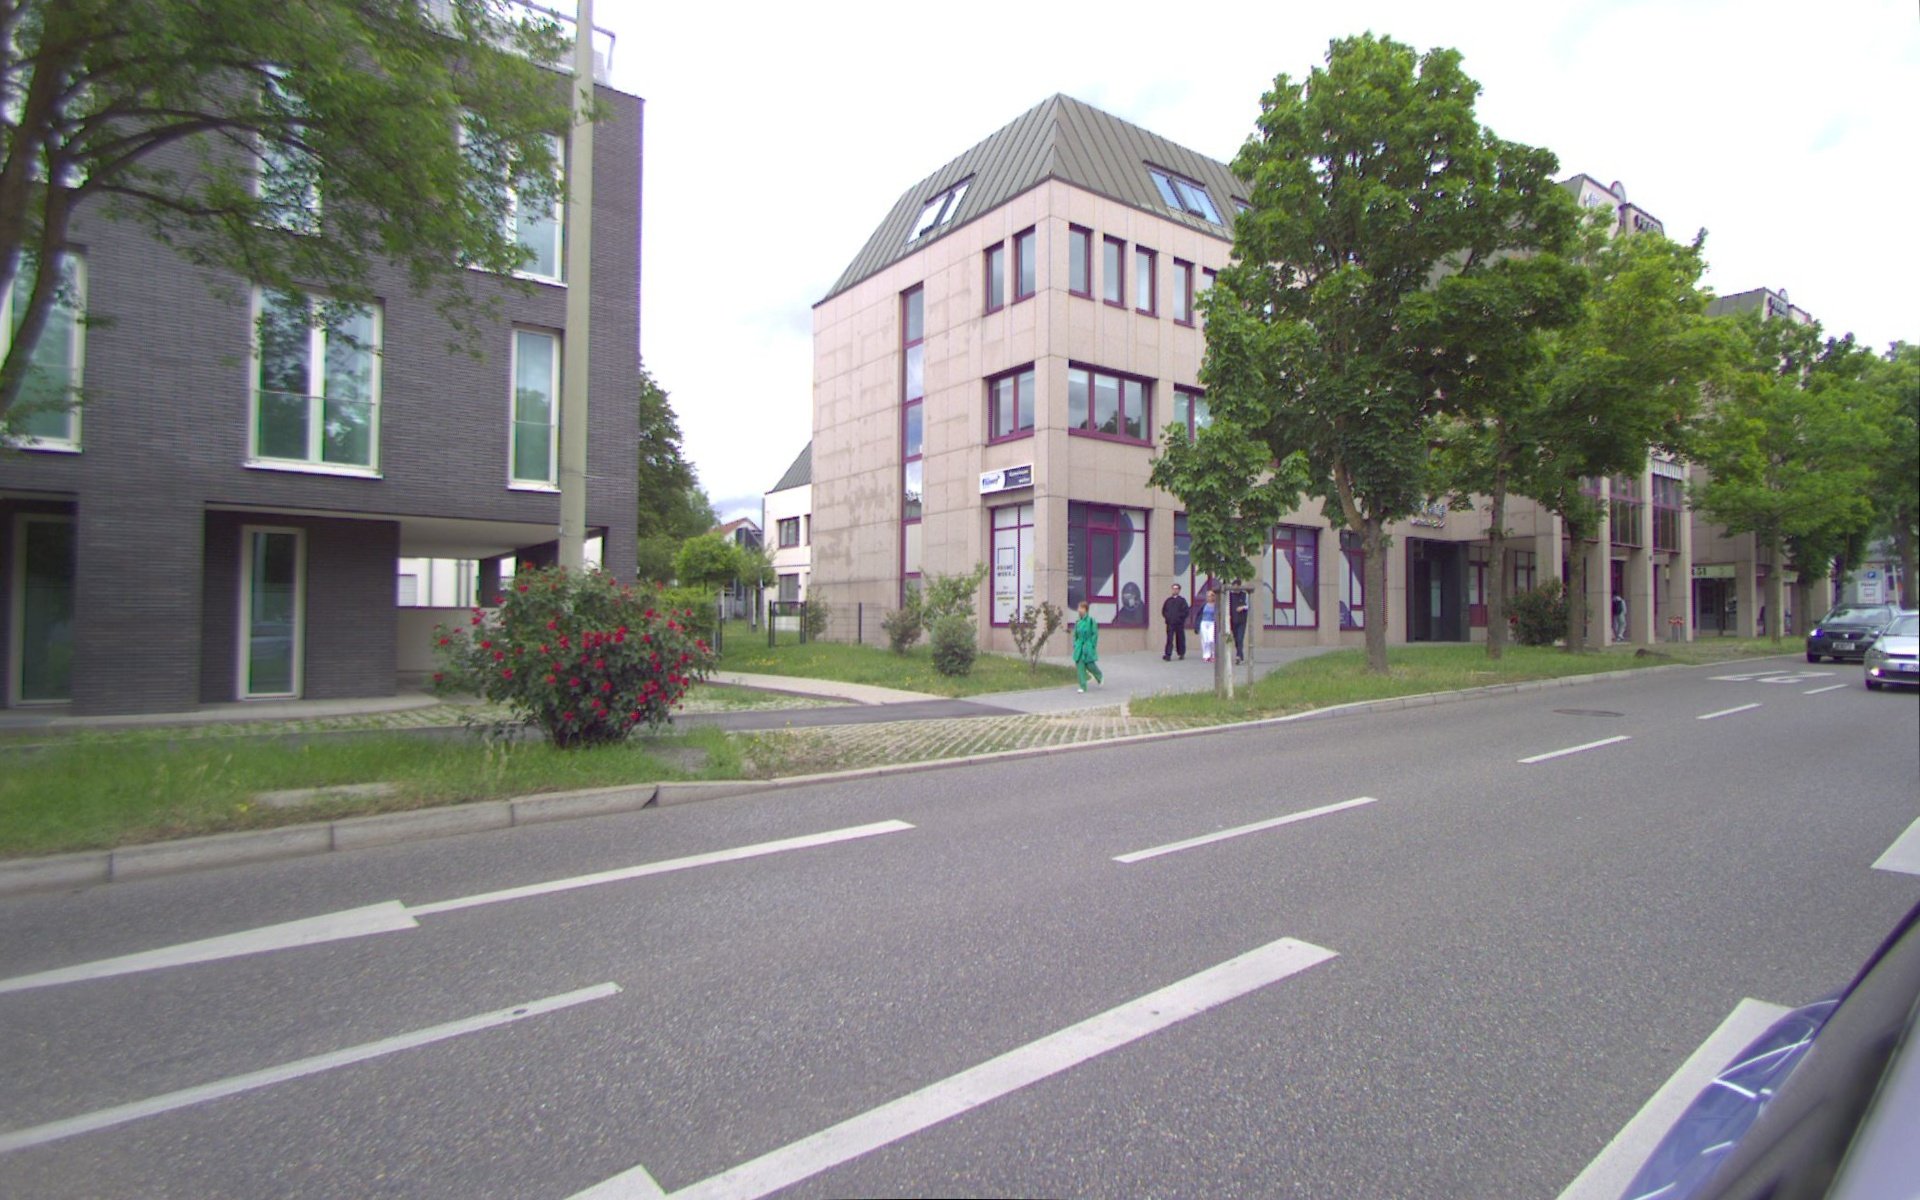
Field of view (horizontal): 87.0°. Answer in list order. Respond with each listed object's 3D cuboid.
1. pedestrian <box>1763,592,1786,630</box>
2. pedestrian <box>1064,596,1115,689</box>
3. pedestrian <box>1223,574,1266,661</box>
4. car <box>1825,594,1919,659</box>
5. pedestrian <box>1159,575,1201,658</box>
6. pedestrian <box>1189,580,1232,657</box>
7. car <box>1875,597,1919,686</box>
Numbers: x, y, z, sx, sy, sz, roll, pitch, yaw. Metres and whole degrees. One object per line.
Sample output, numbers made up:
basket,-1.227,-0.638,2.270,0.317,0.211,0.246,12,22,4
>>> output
pedestrian,39.989,0.533,49.709,0.932,1.845,0.718,0,0,-41
pedestrian,2.204,0.706,17.233,0.665,1.537,0.496,0,2,-41
pedestrian,6.130,0.369,21.804,0.665,1.828,0.642,0,-1,-41
car,23.690,0.613,26.004,3.930,1.531,1.660,-1,0,-41
pedestrian,4.943,0.365,22.740,0.665,1.828,0.642,0,-1,-41
pedestrian,5.529,0.393,22.339,0.665,1.668,0.642,0,-1,-41
car,17.726,0.696,17.954,3.608,1.487,1.609,0,0,-38
